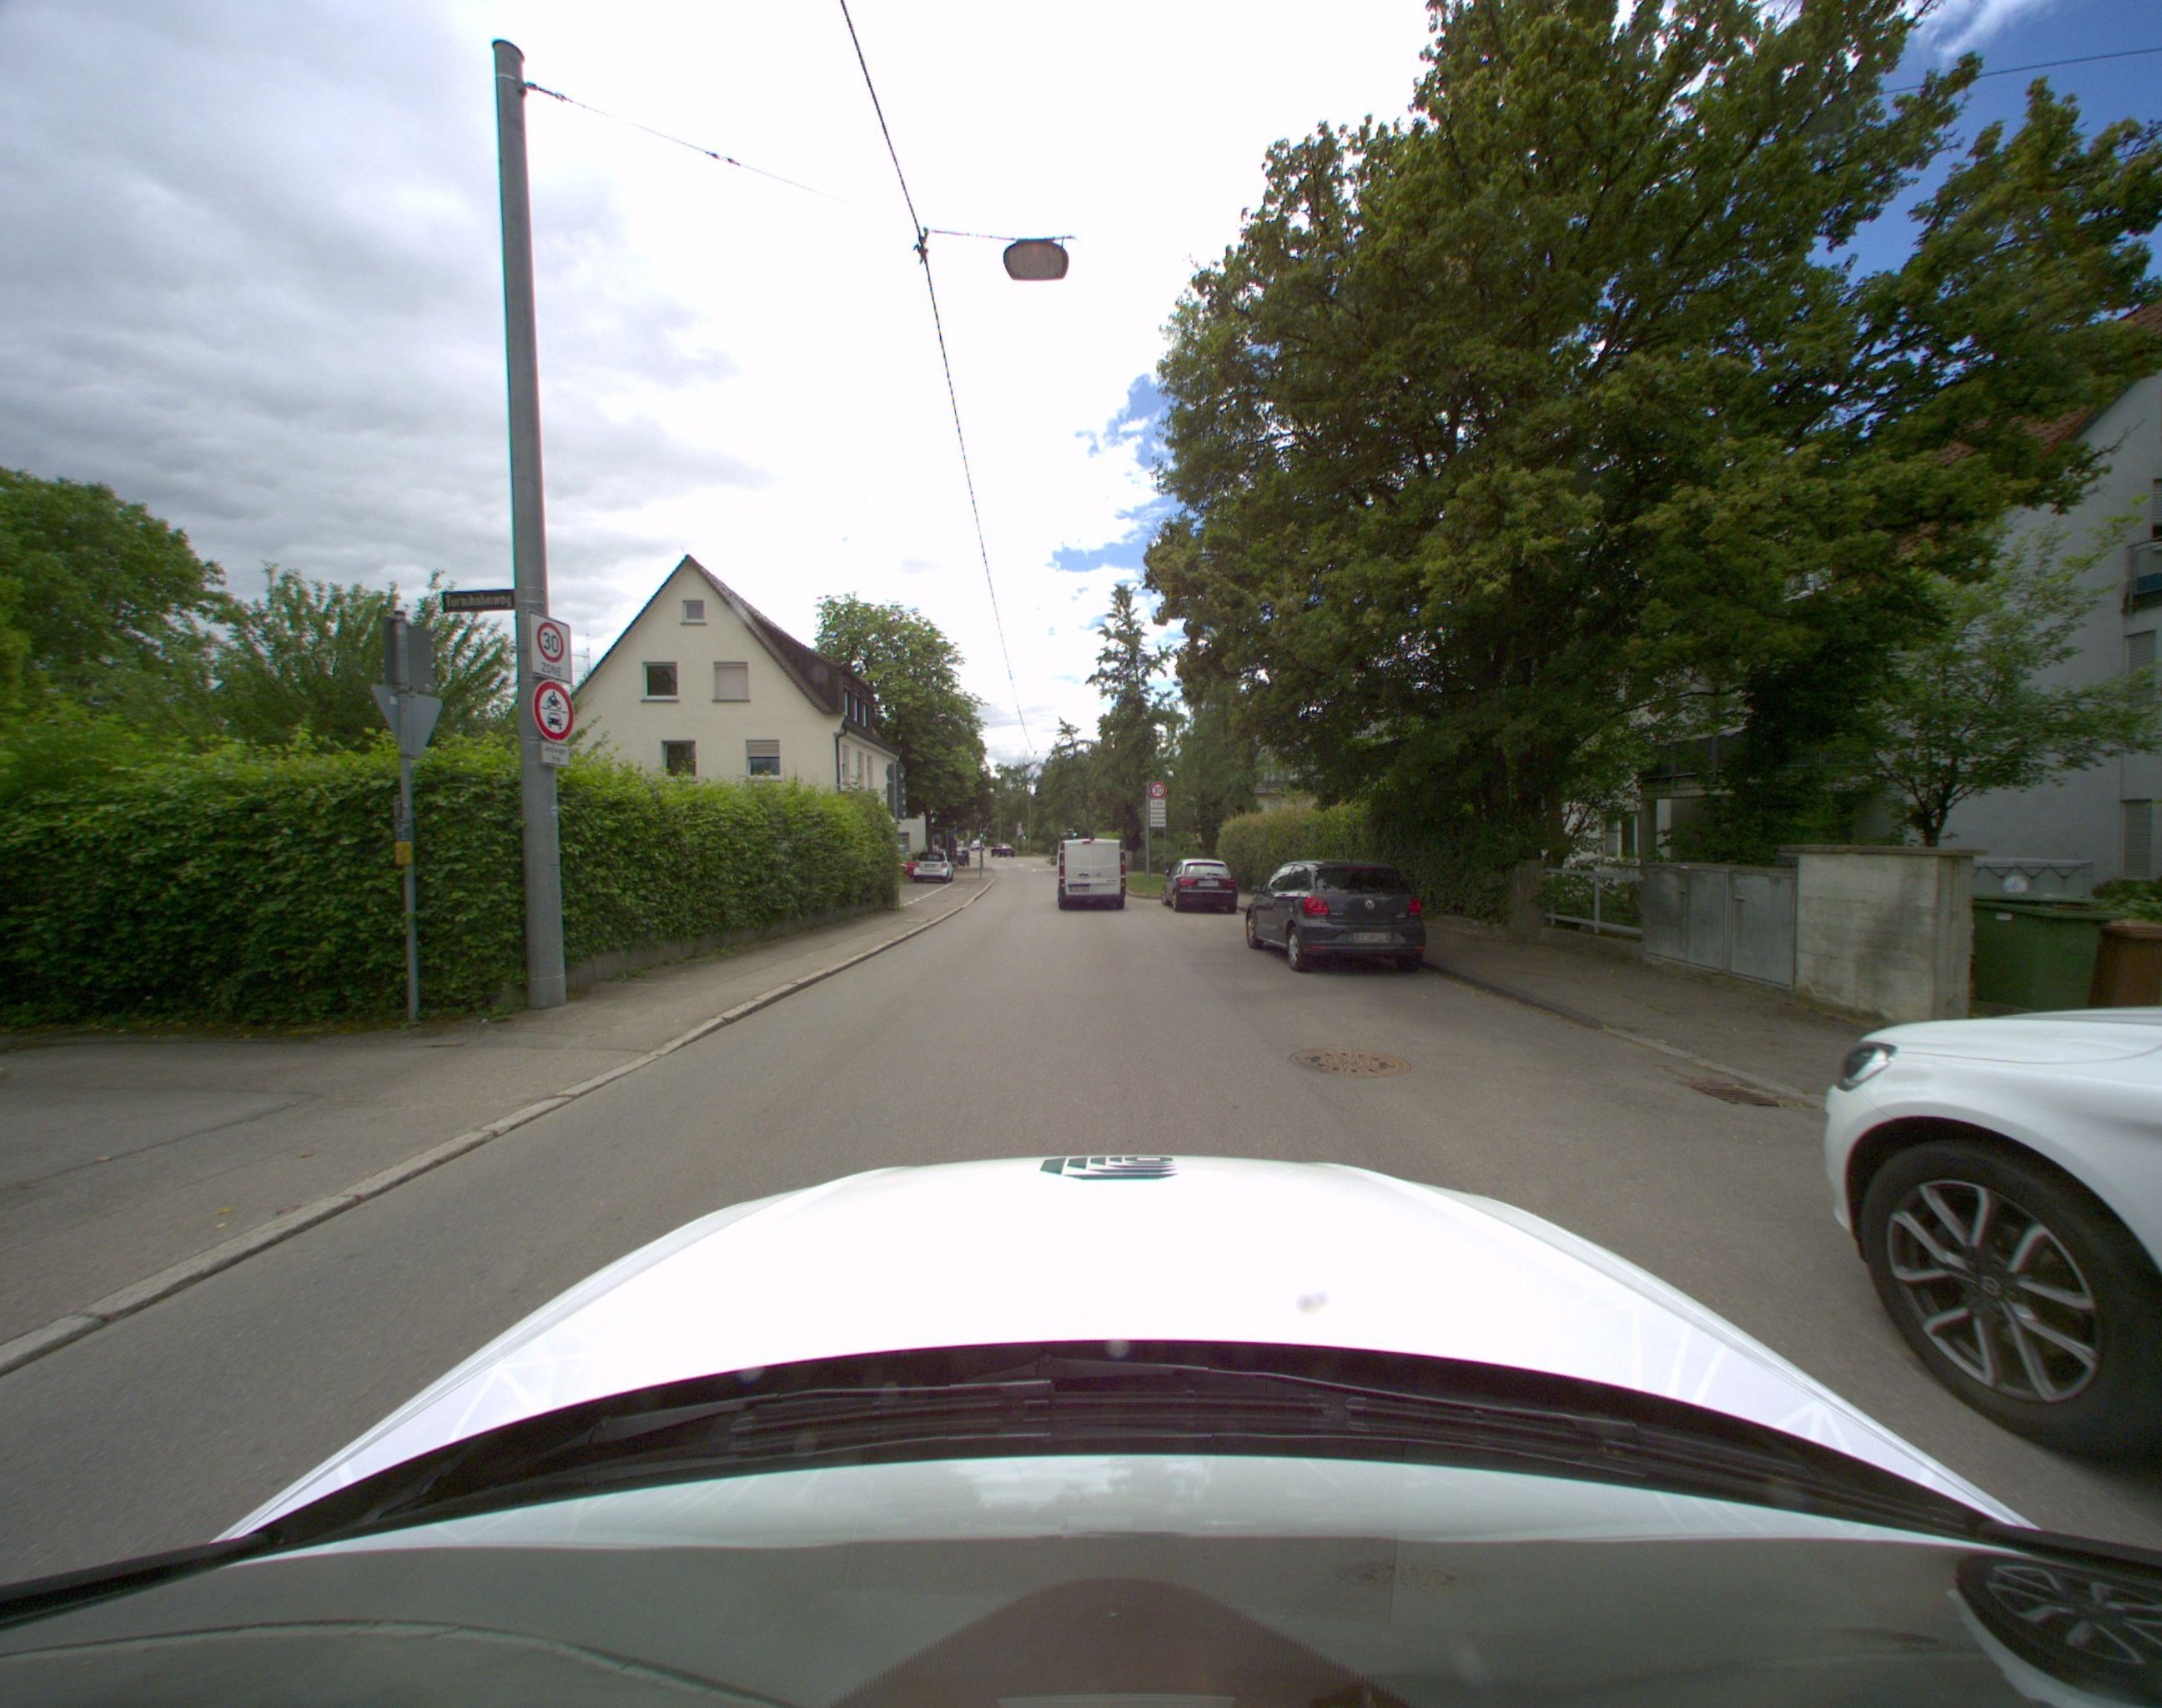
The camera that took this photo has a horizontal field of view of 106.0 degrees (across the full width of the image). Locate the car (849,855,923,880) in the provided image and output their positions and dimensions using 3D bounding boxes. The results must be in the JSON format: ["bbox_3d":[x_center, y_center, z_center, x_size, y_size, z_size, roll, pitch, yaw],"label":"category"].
[{"bbox_3d":[-12.346,0.834,51.578,4.182,1.432,1.827,0,3,23],"label":"car"}]

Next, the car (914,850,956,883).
[{"bbox_3d":[-7.227,0.590,40.562,1.584,1.538,2.921,2,0,-2],"label":"car"}]

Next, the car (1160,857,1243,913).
[{"bbox_3d":[3.315,0.815,23.094,1.705,1.412,3.788,1,0,-1],"label":"car"}]

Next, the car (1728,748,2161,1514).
[{"bbox_3d":[3.272,0.608,0.848,1.858,1.685,4.352,0,0,2],"label":"car"}]

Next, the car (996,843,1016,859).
[{"bbox_3d":[-9.122,-0.422,98.767,1.898,1.859,4.386,0,1,-12],"label":"car"}]

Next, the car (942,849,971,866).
[{"bbox_3d":[-11.051,0.273,72.740,1.773,1.441,4.526,1,0,1],"label":"car"}]

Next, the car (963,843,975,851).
[{"bbox_3d":[-21.976,-1.438,159.988,1.897,1.611,4.477,0,1,-15],"label":"car"}]

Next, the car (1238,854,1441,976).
[{"bbox_3d":[3.529,0.749,11.850,1.705,1.487,3.788,0,0,-1],"label":"car"}]

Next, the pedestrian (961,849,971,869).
[{"bbox_3d":[-9.348,0.369,66.257,0.696,1.616,0.715,0,1,-3],"label":"pedestrian"}]

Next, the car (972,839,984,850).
[{"bbox_3d":[-16.519,-1.561,130.479,1.824,1.728,3.989,0,1,-8],"label":"car"}]

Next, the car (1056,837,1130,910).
[{"bbox_3d":[0.247,0.483,24.150,1.925,1.964,4.397,0,1,-3],"label":"car"}]
